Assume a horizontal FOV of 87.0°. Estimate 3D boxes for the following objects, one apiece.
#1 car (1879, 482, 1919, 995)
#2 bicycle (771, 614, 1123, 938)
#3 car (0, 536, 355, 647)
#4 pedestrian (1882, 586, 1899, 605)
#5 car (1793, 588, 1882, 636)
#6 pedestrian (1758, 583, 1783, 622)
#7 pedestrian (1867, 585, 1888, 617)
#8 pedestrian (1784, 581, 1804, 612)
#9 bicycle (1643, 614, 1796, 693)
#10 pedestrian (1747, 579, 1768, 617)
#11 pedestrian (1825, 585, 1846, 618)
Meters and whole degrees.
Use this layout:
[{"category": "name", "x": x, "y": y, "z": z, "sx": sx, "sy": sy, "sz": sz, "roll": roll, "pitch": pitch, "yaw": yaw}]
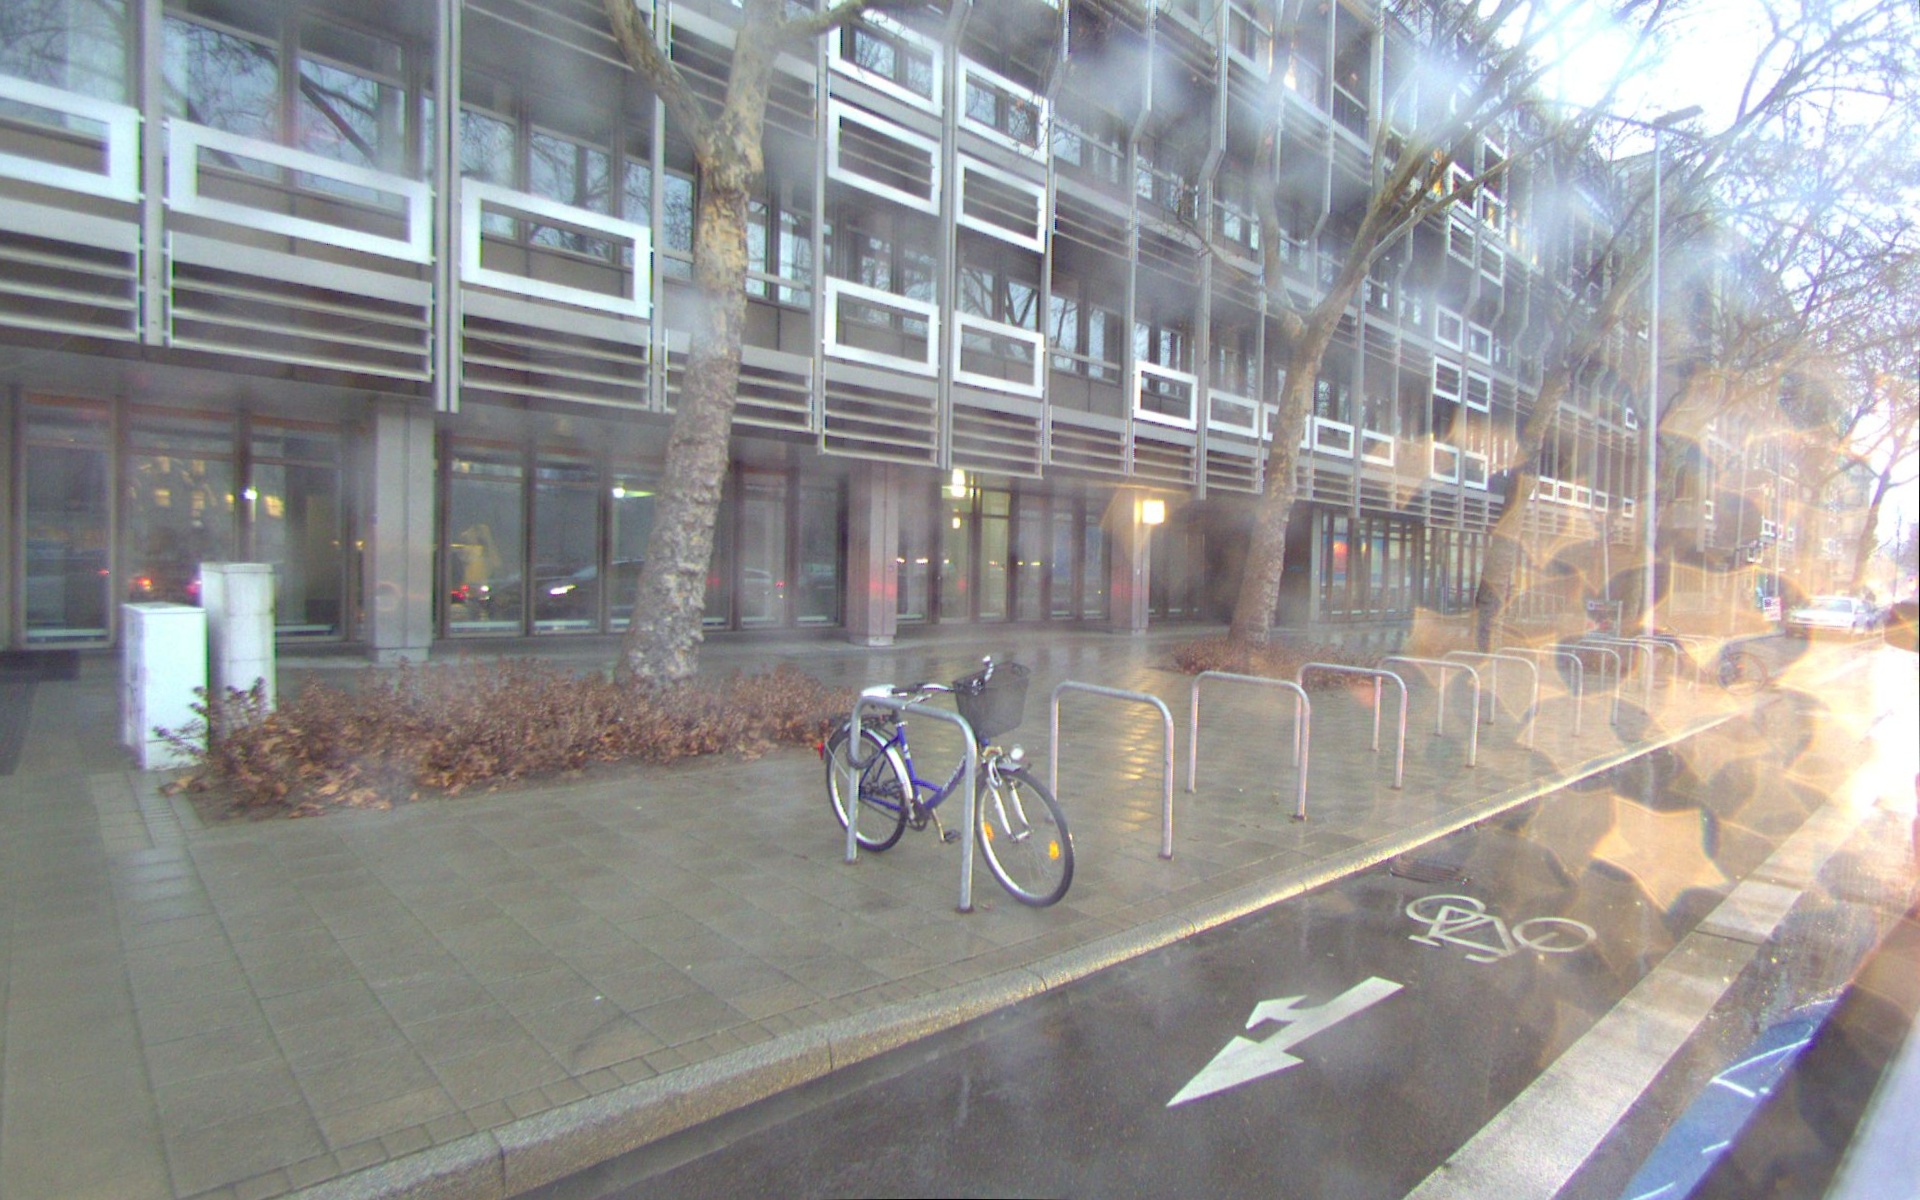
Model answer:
[{"category": "car", "x": 5.494, "y": 0.486, "z": 4.363, "sx": 3.931, "sy": 1.864, "sz": 1.876, "roll": -1, "pitch": 0, "yaw": -42}, {"category": "bicycle", "x": -0.149, "y": 0.712, "z": 4.872, "sx": 0.629, "sy": 1.145, "sz": 1.810, "roll": 2, "pitch": 2, "yaw": -41}, {"category": "car", "x": -10.797, "y": -0.156, "z": 13.994, "sx": 3.929, "sy": 1.326, "sz": 1.998, "roll": 0, "pitch": 3, "yaw": -40}, {"category": "pedestrian", "x": 66.975, "y": -0.341, "z": 72.834, "sx": 0.738, "sy": 1.354, "sz": 0.781, "roll": 0, "pitch": 0, "yaw": -41}, {"category": "car", "x": 29.329, "y": 0.349, "z": 33.808, "sx": 3.930, "sy": 1.482, "sz": 1.711, "roll": -1, "pitch": 1, "yaw": -41}, {"category": "pedestrian", "x": 37.439, "y": 0.090, "z": 46.744, "sx": 0.765, "sy": 1.771, "sz": 0.913, "roll": 2, "pitch": 2, "yaw": 45}, {"category": "pedestrian", "x": 51.037, "y": 0.058, "z": 56.298, "sx": 0.765, "sy": 1.771, "sz": 0.913, "roll": 2, "pitch": 2, "yaw": 45}, {"category": "pedestrian", "x": 48.942, "y": -0.226, "z": 59.387, "sx": 0.765, "sy": 1.771, "sz": 0.913, "roll": 2, "pitch": 2, "yaw": 45}, {"category": "bicycle", "x": 11.674, "y": 0.795, "z": 15.598, "sx": 0.864, "sy": 1.004, "sz": 1.704, "roll": 0, "pitch": 4, "yaw": -41}, {"category": "pedestrian", "x": 43.746, "y": -0.122, "z": 55.516, "sx": 0.912, "sy": 2.004, "sz": 0.699, "roll": 0, "pitch": 2, "yaw": -41}, {"category": "pedestrian", "x": 47.786, "y": 0.085, "z": 55.252, "sx": 0.765, "sy": 1.771, "sz": 0.913, "roll": 2, "pitch": 2, "yaw": 45}]
